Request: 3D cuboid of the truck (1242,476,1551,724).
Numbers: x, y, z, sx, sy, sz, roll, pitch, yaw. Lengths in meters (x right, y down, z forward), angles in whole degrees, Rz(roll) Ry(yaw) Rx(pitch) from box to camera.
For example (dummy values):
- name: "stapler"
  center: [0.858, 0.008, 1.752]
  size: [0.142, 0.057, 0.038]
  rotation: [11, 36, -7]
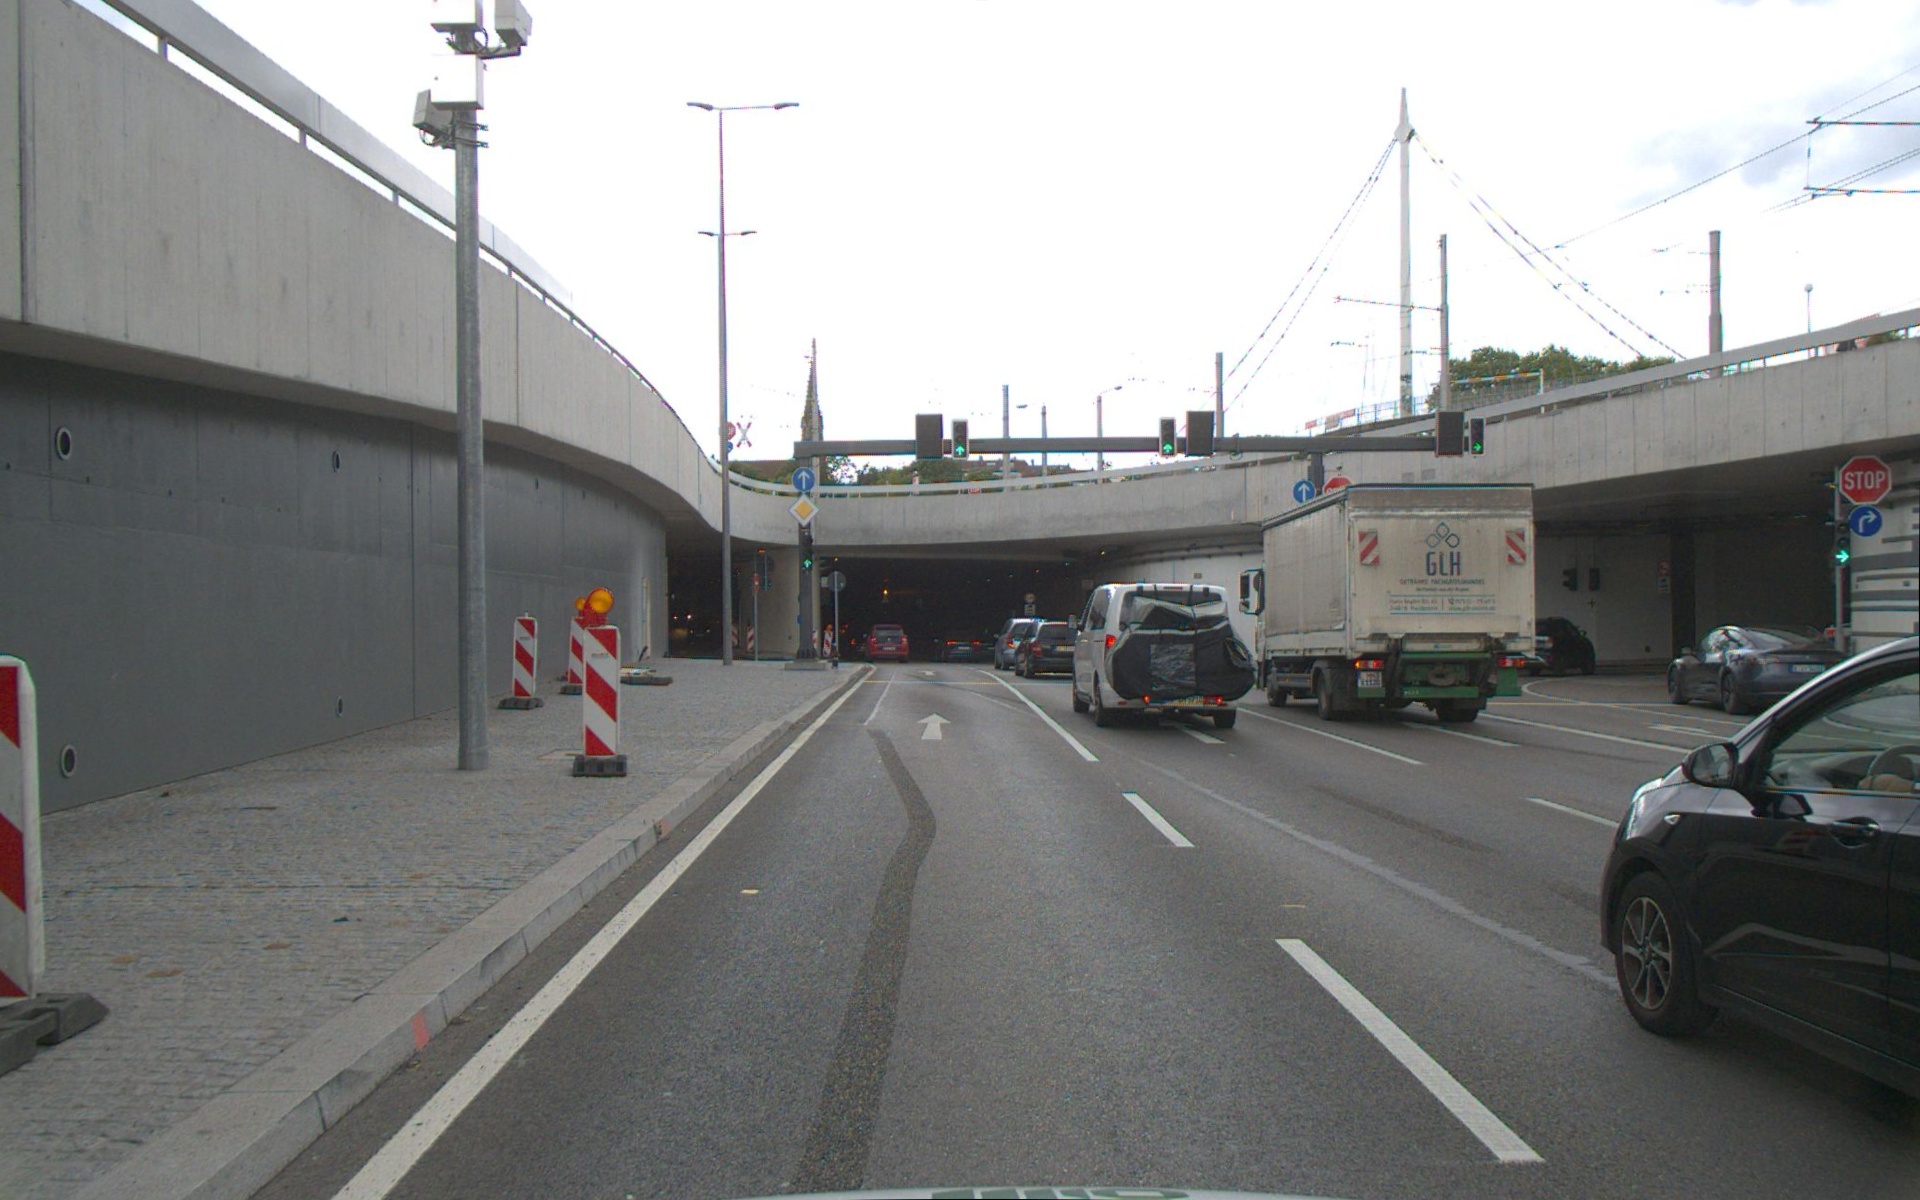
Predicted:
- name: "truck"
  center: [6.364, 0.033, 25.400]
  size: [2.596, 3.241, 7.423]
  rotation: [0, -1, -1]

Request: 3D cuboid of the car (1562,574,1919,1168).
- name: "car"
  center: [3.352, 0.730, 4.845]
  size: [1.648, 1.572, 3.690]
  rotation: [1, 0, -3]

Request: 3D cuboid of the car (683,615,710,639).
- name: "car"
  center: [-17.194, 1.756, 107.838]
  size: [1.633, 1.466, 4.106]
  rotation: [0, 0, -8]

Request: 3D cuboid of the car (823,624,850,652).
- name: "car"
  center: [-9.719, 2.970, 130.082]
  size: [1.955, 2.049, 3.994]
  rotation: [0, 0, -6]

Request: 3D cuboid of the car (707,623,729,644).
- name: "car"
  center: [-20.223, 2.788, 138.014]
  size: [1.774, 1.632, 4.778]
  rotation: [-1, 0, -8]

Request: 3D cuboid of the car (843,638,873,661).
- name: "car"
  center: [-5.845, 2.834, 94.282]
  size: [1.480, 1.269, 3.560]
  rotation: [0, -2, -8]

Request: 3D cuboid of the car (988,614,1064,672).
- name: "car"
  center: [1.996, 1.290, 50.903]
  size: [1.783, 1.608, 3.996]
  rotation: [4, -1, -5]

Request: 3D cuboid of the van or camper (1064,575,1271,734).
- name: "van or camper"
  center: [2.680, 0.751, 22.707]
  size: [1.953, 1.878, 5.505]
  rotation: [1, -2, -2]

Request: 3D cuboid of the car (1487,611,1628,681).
- name: "car"
  center: [16.329, 1.222, 45.160]
  size: [3.961, 1.616, 1.807]
  rotation: [-4, 1, -39]

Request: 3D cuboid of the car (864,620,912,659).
- name: "car"
  center: [-2.947, 1.599, 67.022]
  size: [1.629, 1.514, 3.560]
  rotation: [0, -2, -8]

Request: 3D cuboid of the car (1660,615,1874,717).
- name: "car"
  center: [13.400, 1.046, 27.782]
  size: [1.951, 1.426, 4.471]
  rotation: [-2, 0, 9]

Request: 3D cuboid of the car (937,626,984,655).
- name: "car"
  center: [0.006, 1.838, 74.380]
  size: [1.632, 1.269, 3.560]
  rotation: [0, -2, -8]

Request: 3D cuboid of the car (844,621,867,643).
- name: "car"
  center: [-9.064, 2.758, 143.067]
  size: [1.954, 1.804, 3.997]
  rotation: [0, 0, -4]

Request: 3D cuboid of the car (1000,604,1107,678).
- name: "car"
  center: [2.246, 0.988, 40.818]
  size: [1.785, 1.713, 3.991]
  rotation: [1, -1, -9]

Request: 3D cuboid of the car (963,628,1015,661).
- name: "car"
  center: [1.524, 2.389, 88.714]
  size: [1.954, 1.705, 4.496]
  rotation: [0, -2, -10]
